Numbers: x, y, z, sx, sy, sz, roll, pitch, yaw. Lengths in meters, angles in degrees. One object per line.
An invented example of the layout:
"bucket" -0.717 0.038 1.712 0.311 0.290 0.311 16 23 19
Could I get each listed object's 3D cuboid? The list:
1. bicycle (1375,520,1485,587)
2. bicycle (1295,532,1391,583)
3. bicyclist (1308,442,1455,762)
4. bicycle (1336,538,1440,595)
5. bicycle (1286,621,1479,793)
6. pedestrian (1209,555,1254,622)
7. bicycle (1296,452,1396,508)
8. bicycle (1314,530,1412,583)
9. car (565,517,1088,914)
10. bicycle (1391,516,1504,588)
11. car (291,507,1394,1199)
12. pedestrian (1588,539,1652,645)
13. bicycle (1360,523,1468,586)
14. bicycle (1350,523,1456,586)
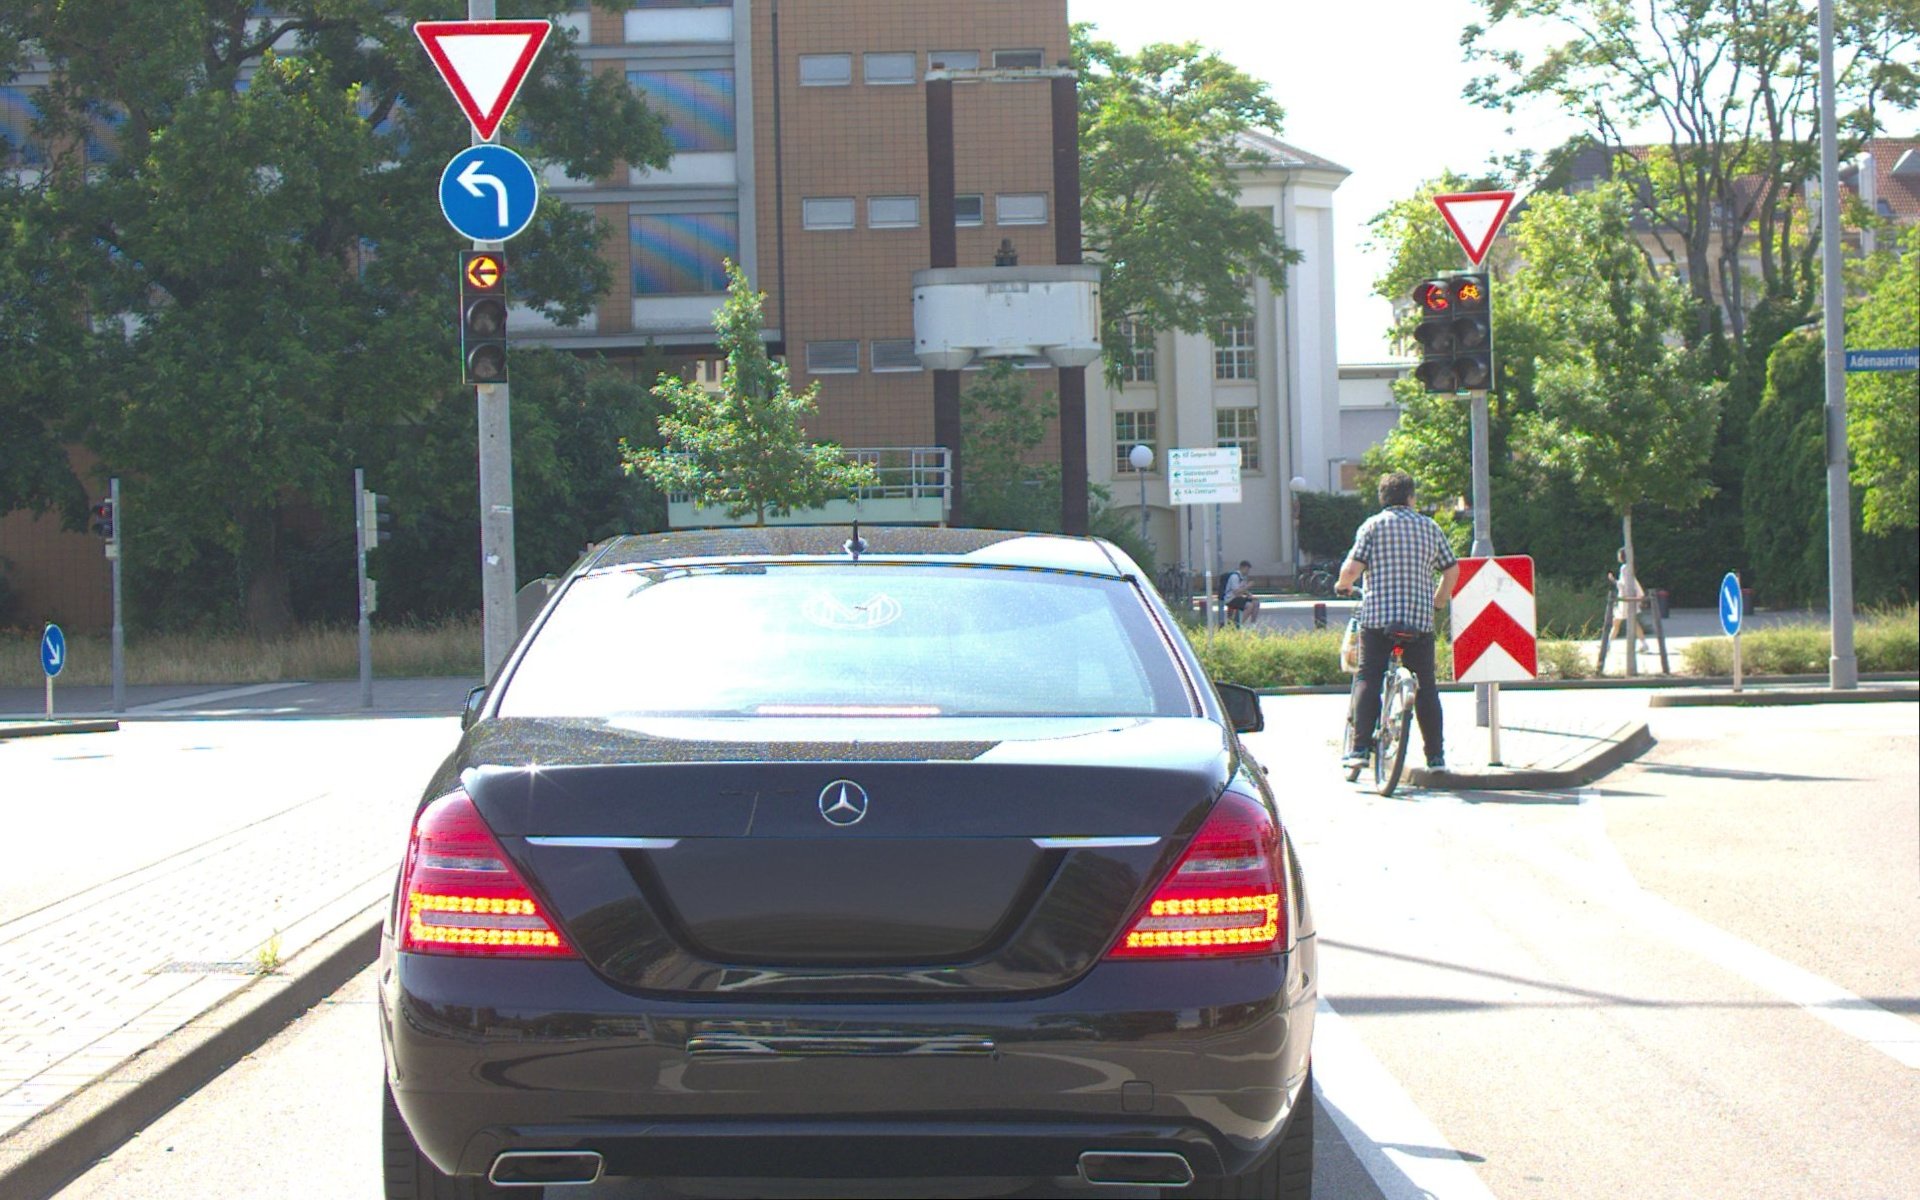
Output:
"bicycle" 12.804 -1.262 93.781 2.823 1.738 0.842 -2 1 -1
"bicycle" 11.817 -1.305 106.166 2.823 1.475 0.841 -2 1 0
"bicyclist" 2.515 0.009 20.590 0.685 1.872 0.860 0 0 -7
"bicycle" 12.241 -0.962 98.347 2.823 1.532 0.842 -2 1 -1
"bicycle" 2.510 0.617 20.627 0.692 0.943 1.959 1 1 -7
"pedestrian" 5.044 -0.215 63.814 0.793 1.209 0.757 1 0 6
"bicycle" 11.490 -3.578 102.363 2.823 1.553 0.842 -2 1 -1
"bicycle" 12.252 -1.330 104.544 2.823 1.495 0.842 -2 1 -1
"car" -0.537 0.425 15.241 1.993 1.503 4.000 1 1 -1
"bicycle" 12.968 -1.274 91.521 2.823 1.830 0.842 -2 1 -1
"car" -0.293 0.589 8.176 1.858 1.525 4.714 0 1 -2
"pedestrian" 10.016 -0.127 52.169 0.811 1.574 0.692 -2 0 2
"bicycle" 12.563 -1.271 95.259 2.823 1.643 0.842 -2 1 -1
"bicycle" 12.408 -1.279 96.326 2.823 1.653 0.842 -2 2 -1
